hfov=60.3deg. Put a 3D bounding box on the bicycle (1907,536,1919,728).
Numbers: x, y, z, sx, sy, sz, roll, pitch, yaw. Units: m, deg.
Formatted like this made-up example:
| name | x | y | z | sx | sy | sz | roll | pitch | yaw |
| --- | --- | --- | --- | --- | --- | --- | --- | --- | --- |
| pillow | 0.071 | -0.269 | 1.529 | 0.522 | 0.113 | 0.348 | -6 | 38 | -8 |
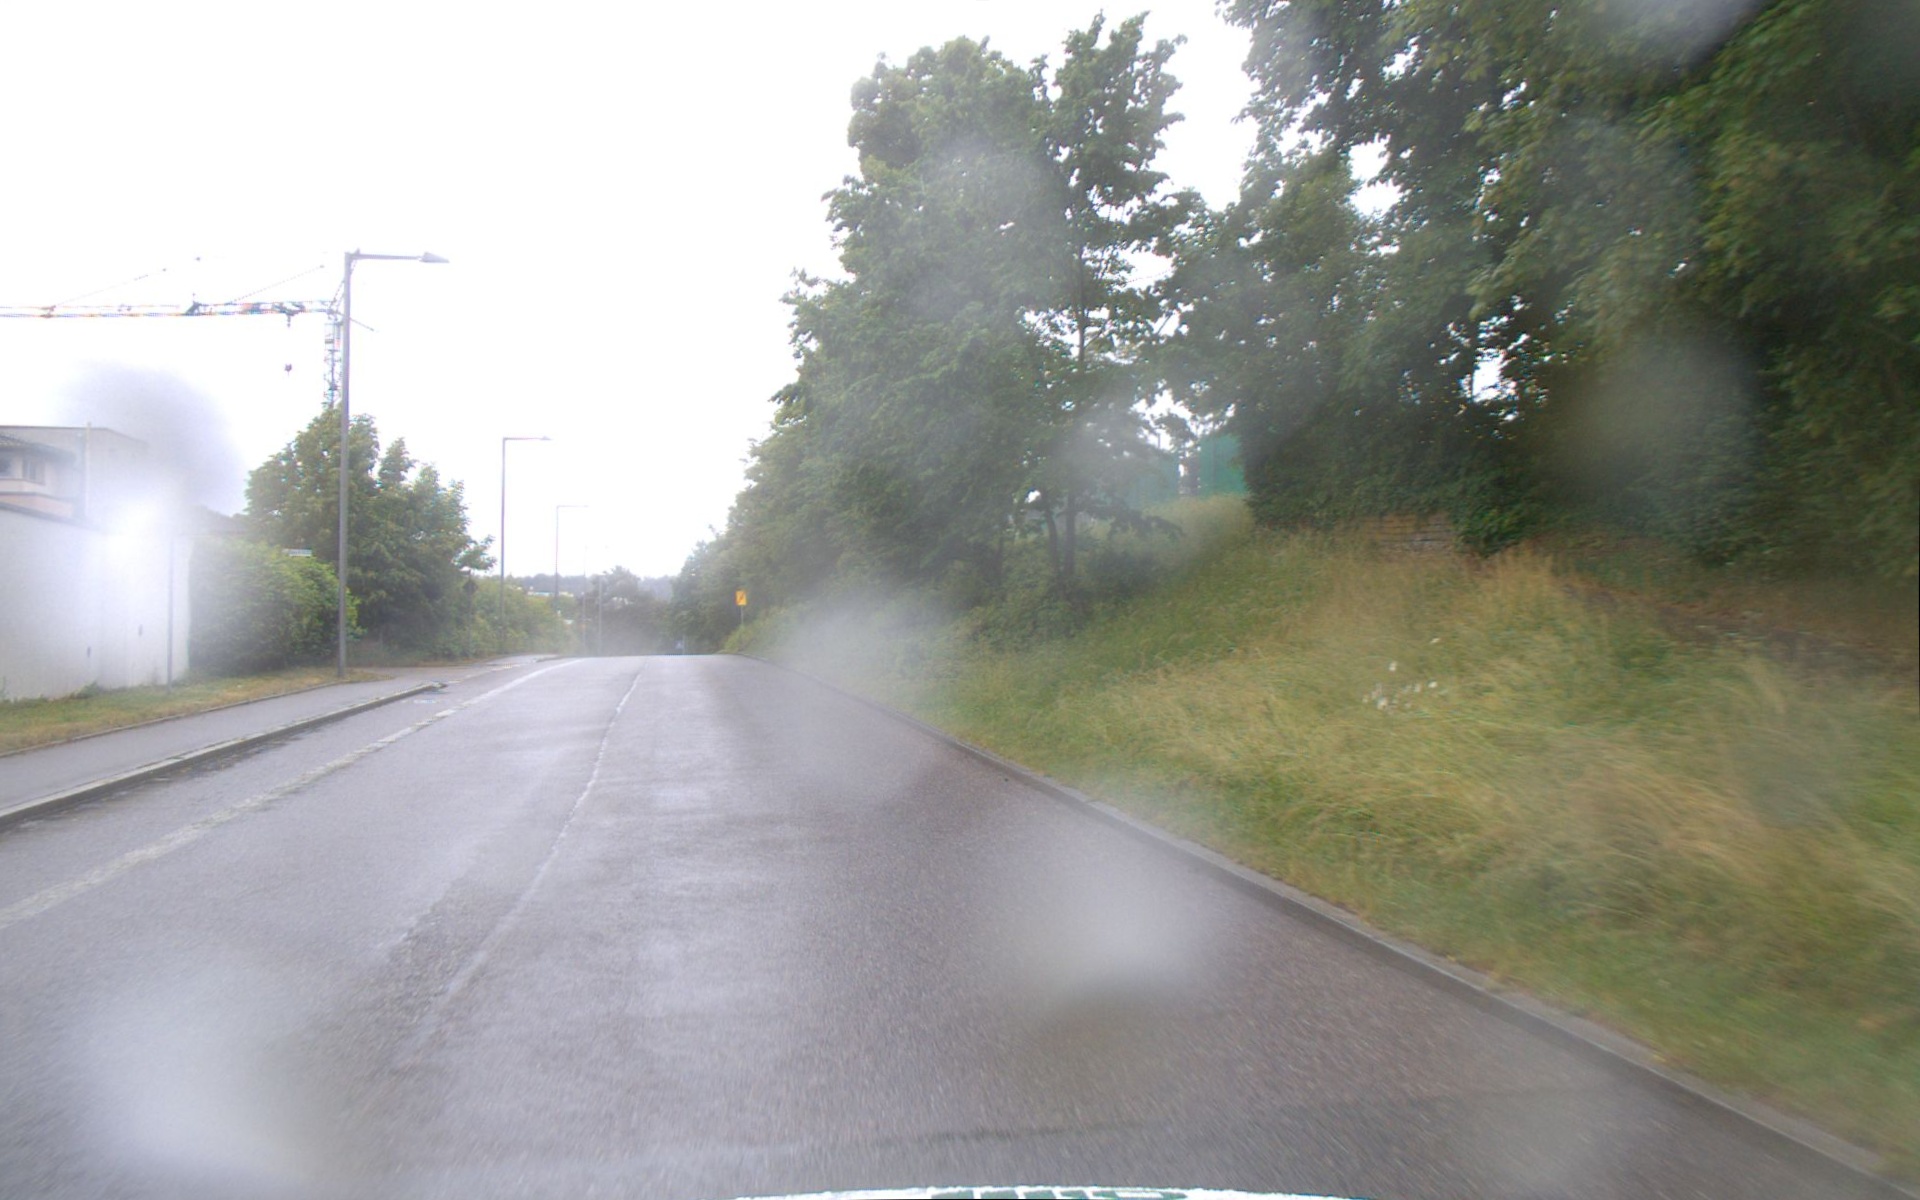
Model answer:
| name | x | y | z | sx | sy | sz | roll | pitch | yaw |
| --- | --- | --- | --- | --- | --- | --- | --- | --- | --- |
| bicycle | 5.893 | 0.236 | 8.855 | 0.517 | 1.103 | 1.618 | 0 | 4 | -8 |
